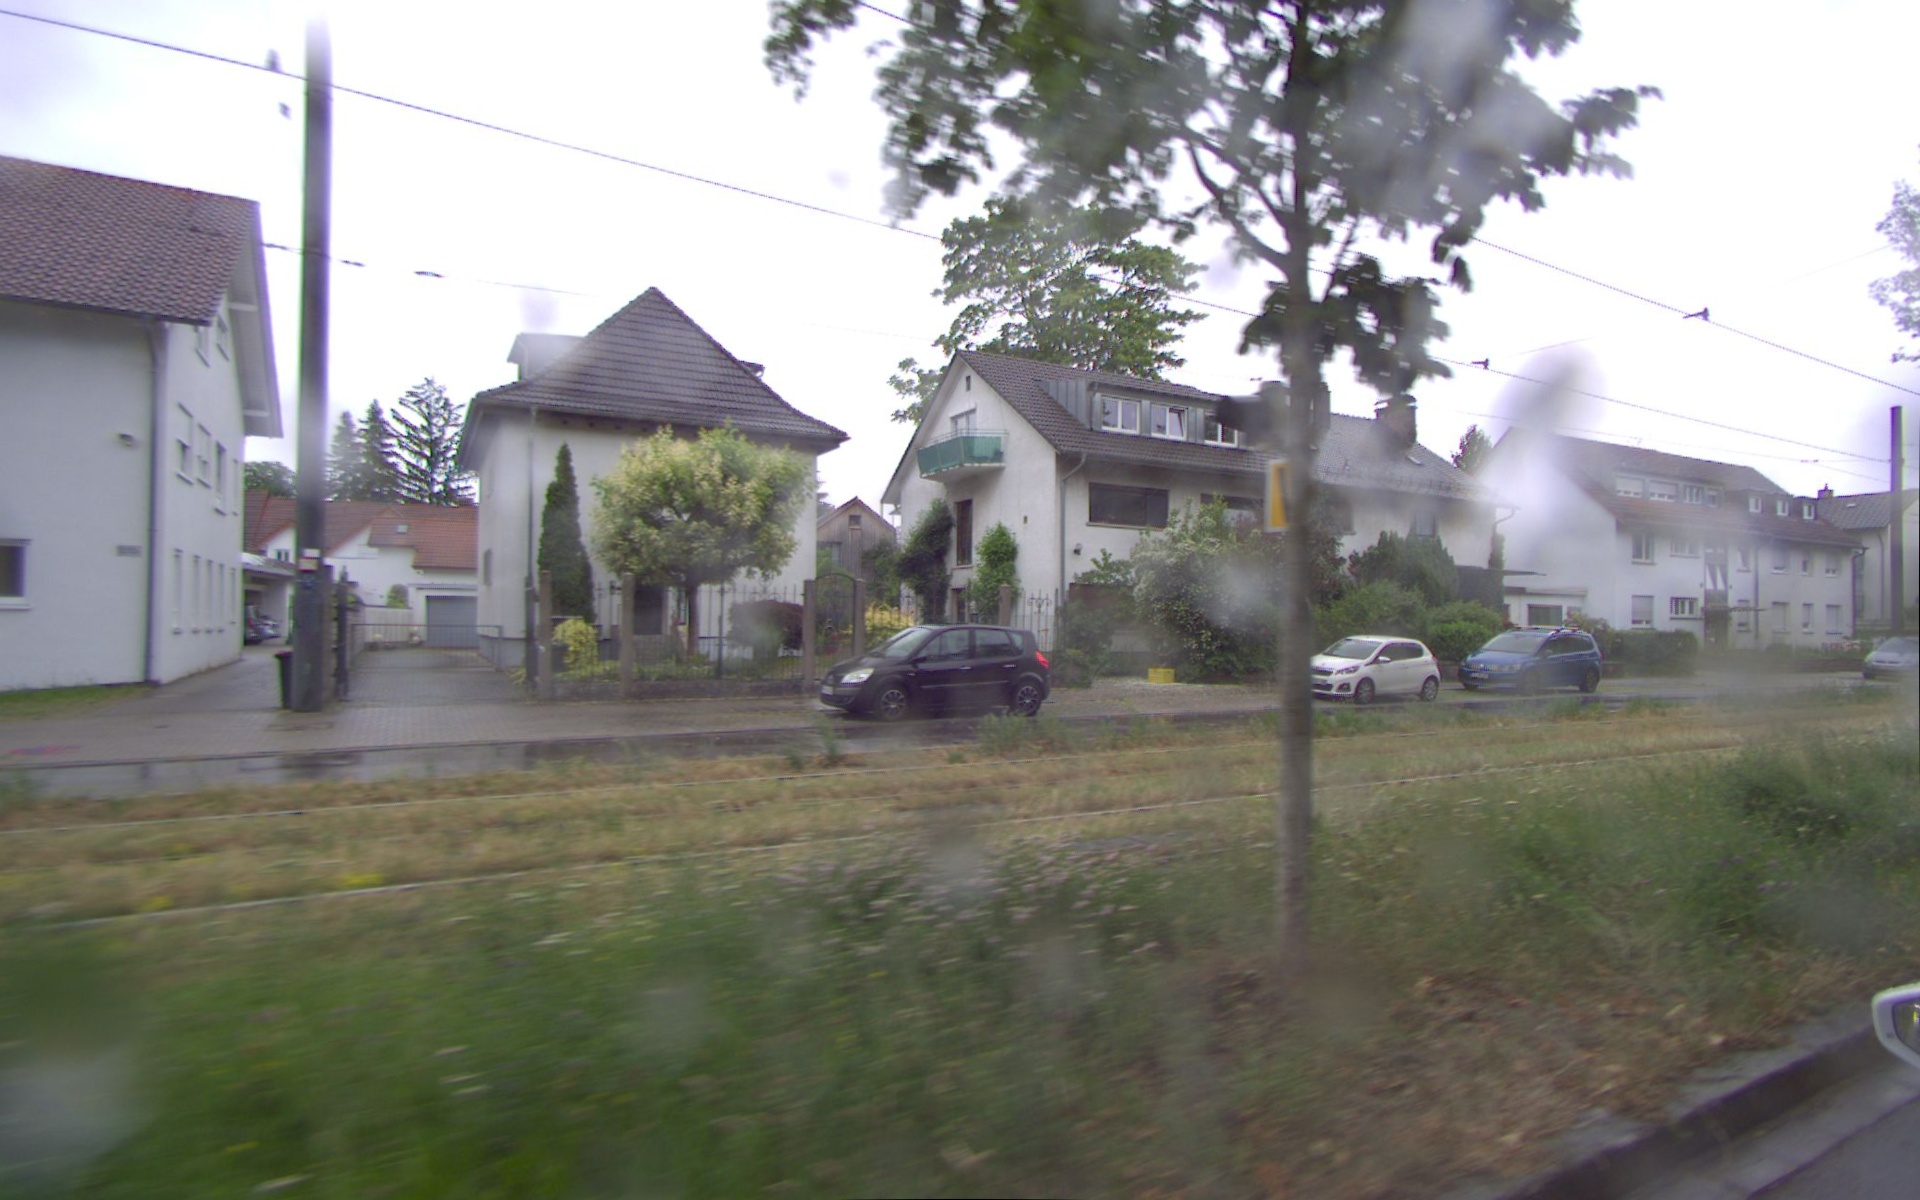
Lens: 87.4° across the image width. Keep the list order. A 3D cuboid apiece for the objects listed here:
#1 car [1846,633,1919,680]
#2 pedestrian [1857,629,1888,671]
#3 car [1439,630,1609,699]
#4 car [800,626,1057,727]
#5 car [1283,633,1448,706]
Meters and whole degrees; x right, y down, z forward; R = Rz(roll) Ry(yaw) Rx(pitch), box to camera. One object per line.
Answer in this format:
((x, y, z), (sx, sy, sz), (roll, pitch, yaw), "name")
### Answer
((35.752, 2.083, 37.994), (4.462, 1.602, 1.985), (1, 0, -29), "car")
((38.836, 2.135, 42.760), (0.844, 1.778, 0.699), (1, -2, -28), "pedestrian")
((15.098, 1.670, 26.875), (4.359, 1.635, 1.985), (1, 0, -29), "car")
((-0.545, 1.271, 17.897), (4.154, 1.536, 1.985), (1, 0, -29), "car")
((9.561, 1.576, 23.684), (3.553, 1.508, 1.788), (1, 0, -29), "car")
